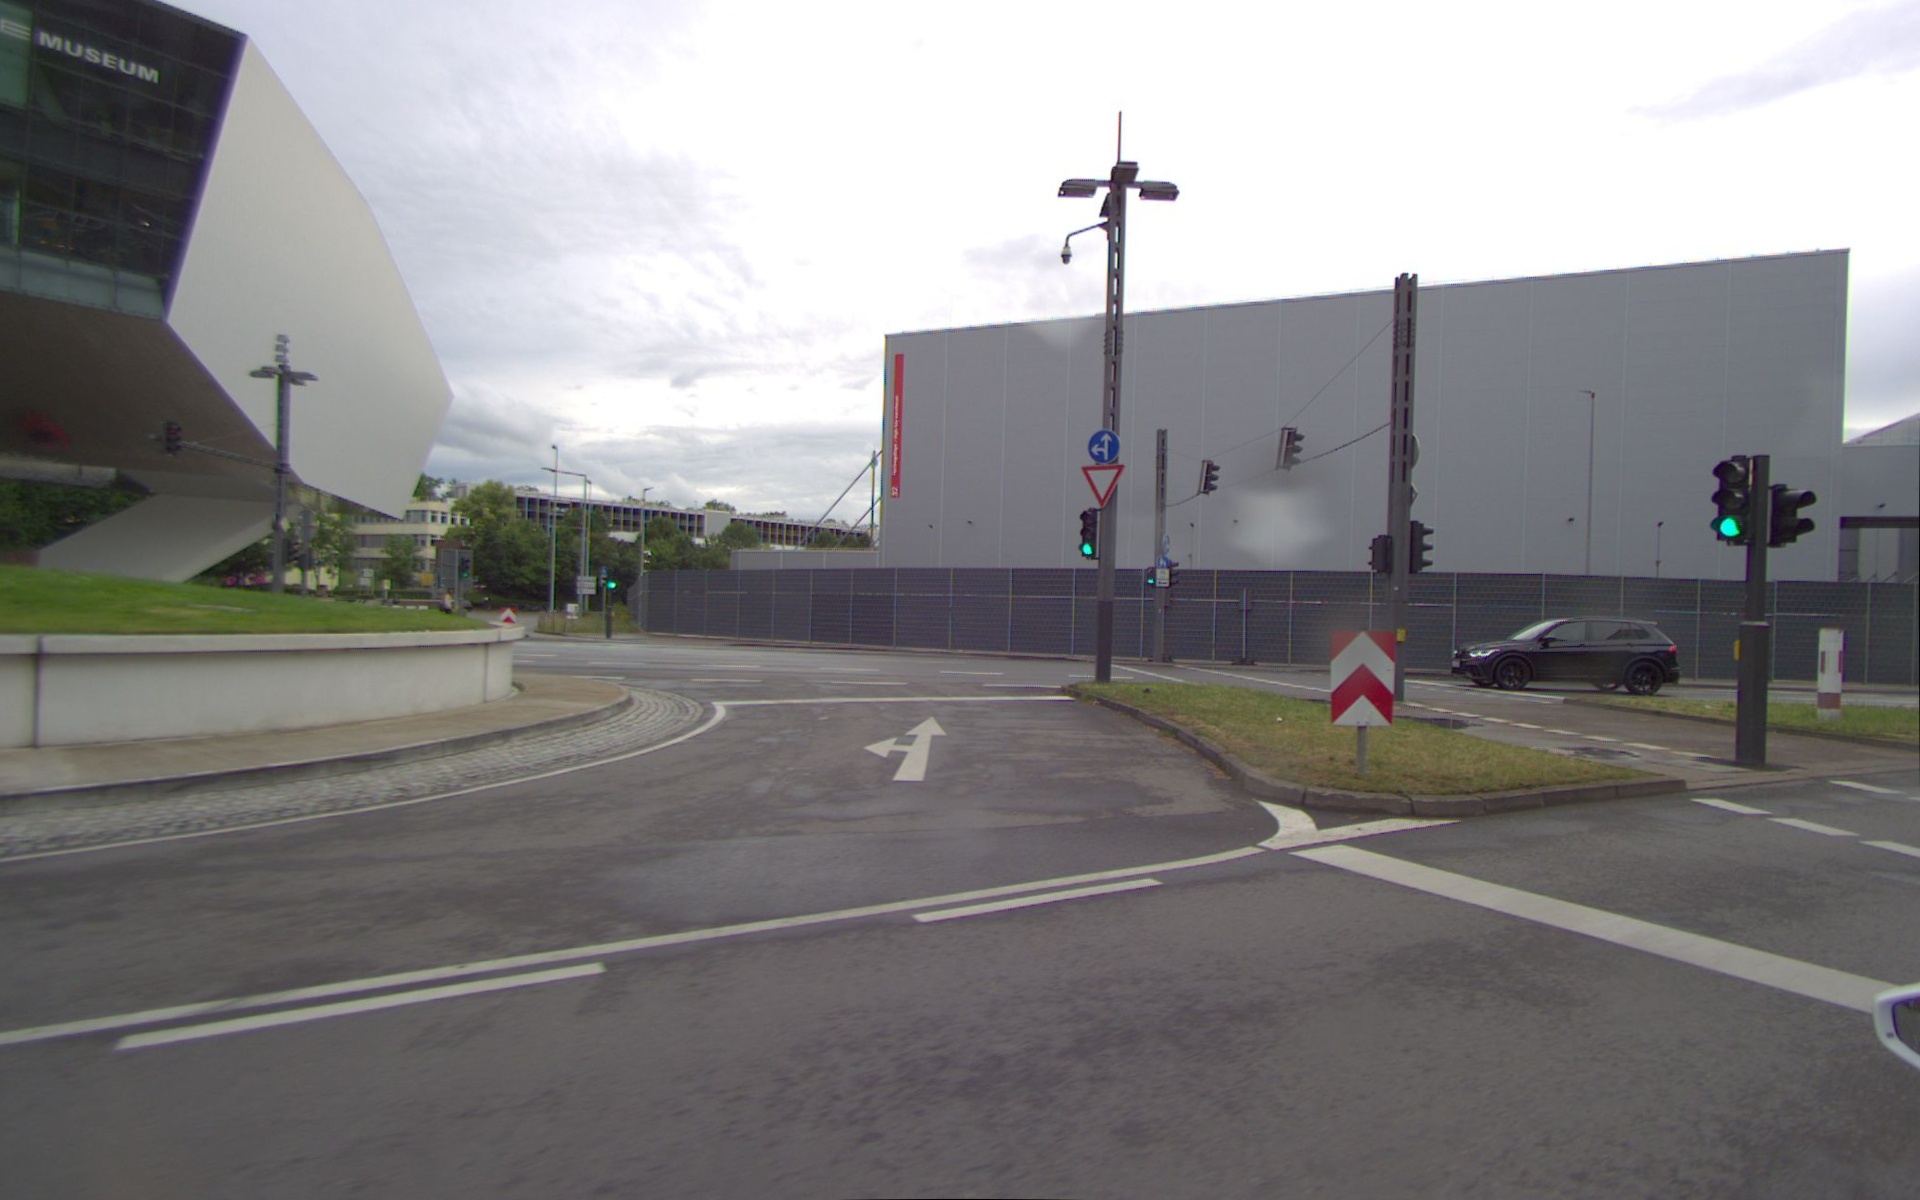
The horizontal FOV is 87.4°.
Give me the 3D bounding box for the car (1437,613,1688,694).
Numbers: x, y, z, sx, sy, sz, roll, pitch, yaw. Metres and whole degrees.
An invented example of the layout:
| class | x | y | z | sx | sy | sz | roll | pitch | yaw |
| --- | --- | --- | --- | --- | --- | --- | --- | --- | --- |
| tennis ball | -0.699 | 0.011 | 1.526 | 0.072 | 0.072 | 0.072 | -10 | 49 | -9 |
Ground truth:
| class | x | y | z | sx | sy | sz | roll | pitch | yaw |
| --- | --- | --- | --- | --- | --- | --- | --- | --- | --- |
| car | 13.381 | 1.149 | 22.568 | 4.473 | 1.609 | 1.790 | 1 | 0 | 8 |
